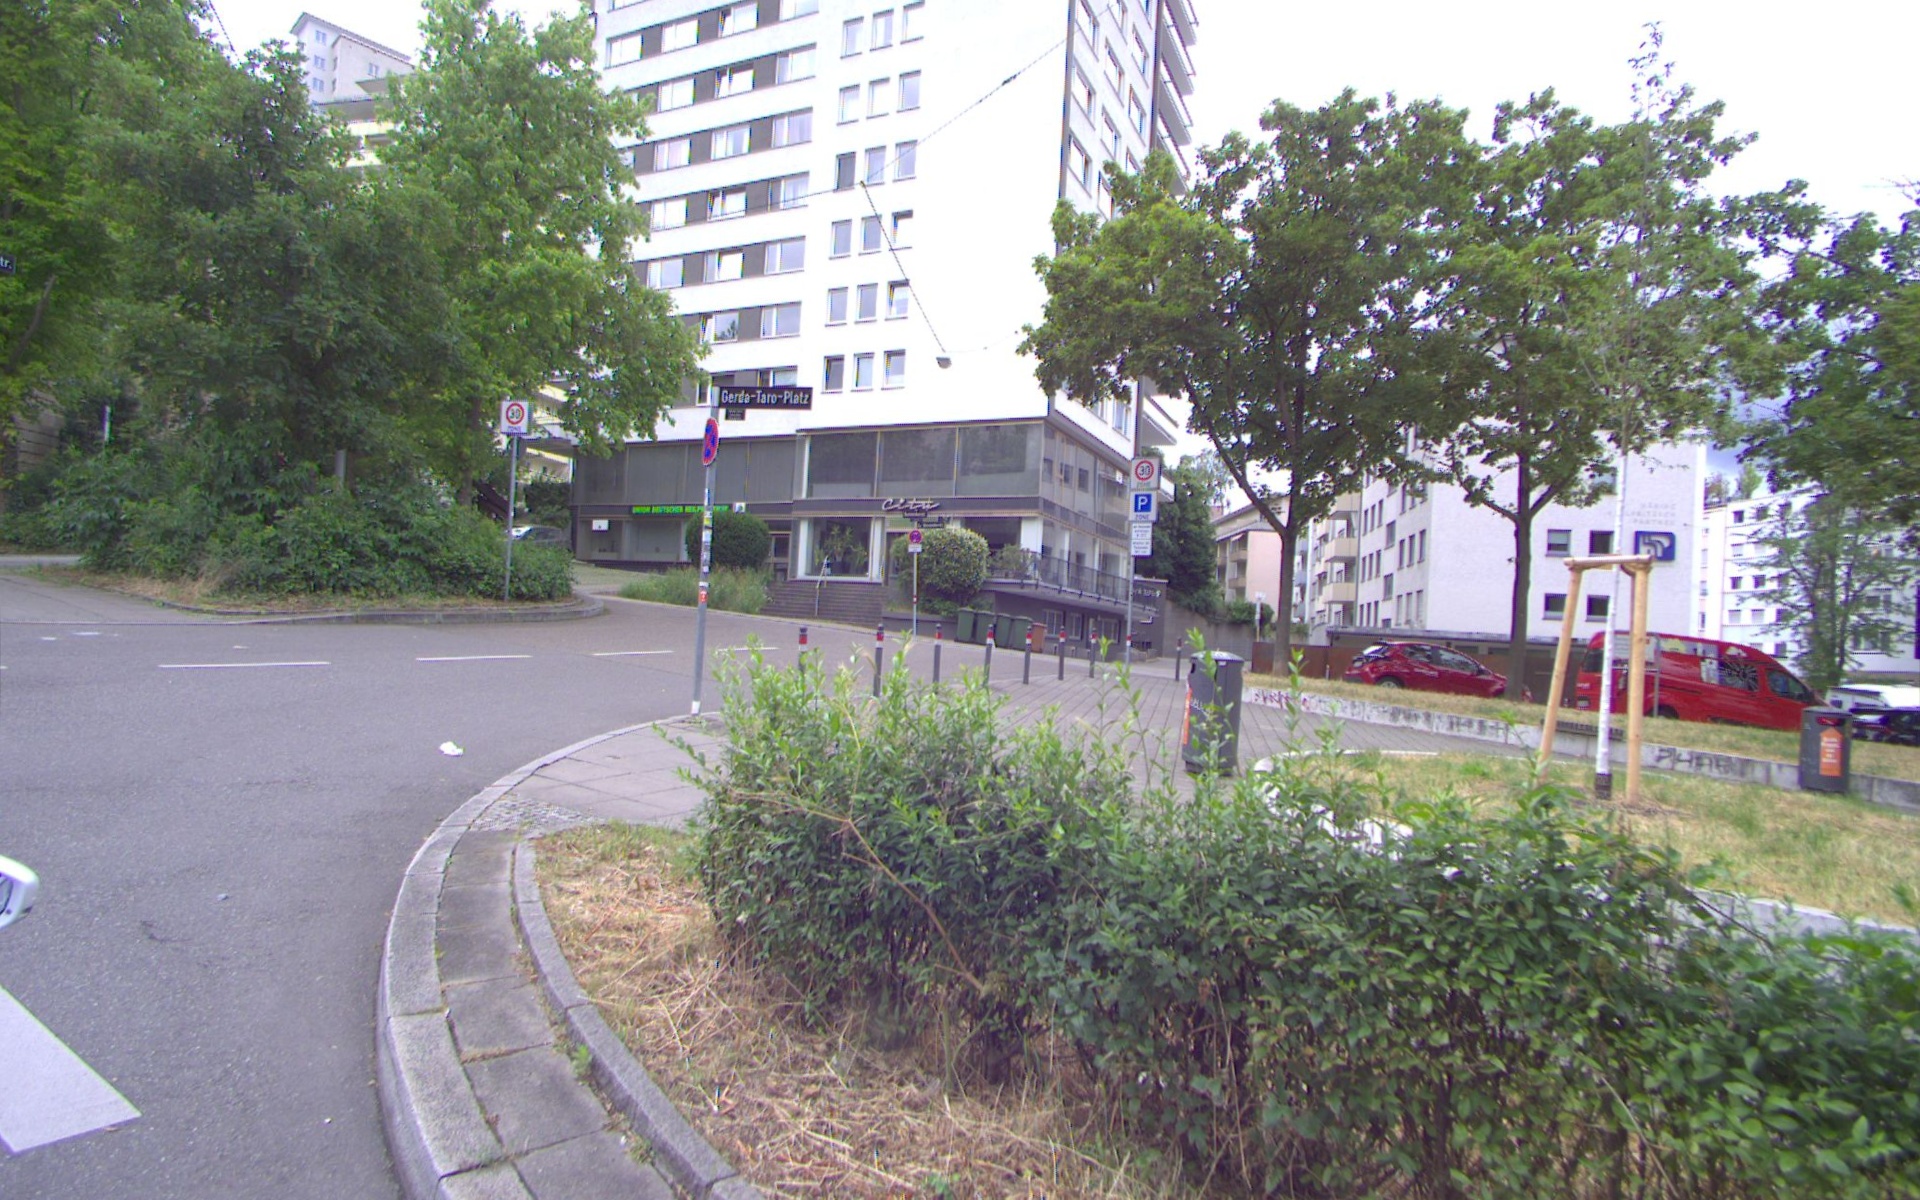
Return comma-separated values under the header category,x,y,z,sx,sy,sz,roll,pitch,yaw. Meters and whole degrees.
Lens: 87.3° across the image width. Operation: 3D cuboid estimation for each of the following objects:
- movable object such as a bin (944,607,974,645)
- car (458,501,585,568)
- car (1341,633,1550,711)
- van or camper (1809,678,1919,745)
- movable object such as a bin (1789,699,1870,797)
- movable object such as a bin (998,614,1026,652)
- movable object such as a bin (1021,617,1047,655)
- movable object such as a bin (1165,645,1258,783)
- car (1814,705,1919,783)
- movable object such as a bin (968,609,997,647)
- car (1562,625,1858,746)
category,x,y,z,sx,sy,sz,roll,pitch,yaw
movable object such as a bin,-0.019,0.807,31.472,0.700,1.117,0.824,6,0,8
car,-17.056,-2.511,39.345,1.964,2.038,4.140,6,0,24
car,10.828,1.617,22.626,3.848,1.293,1.623,6,-4,4
van or camper,35.610,4.336,38.771,2.257,2.254,5.452,5,-4,16
movable object such as a bin,10.603,1.798,12.292,0.599,1.094,0.670,4,-4,32
movable object such as a bin,1.648,1.028,31.908,0.700,1.117,0.824,6,0,8
movable object such as a bin,2.345,1.118,31.741,0.668,1.117,0.824,6,0,8
movable object such as a bin,2.208,0.980,8.819,0.556,1.108,0.494,7,1,31
car,21.551,3.290,22.020,4.071,1.524,1.756,6,-4,4
movable object such as a bin,0.697,0.873,31.477,0.700,1.117,0.824,6,0,8
car,16.577,1.890,22.454,4.888,2.050,2.033,6,-4,4
